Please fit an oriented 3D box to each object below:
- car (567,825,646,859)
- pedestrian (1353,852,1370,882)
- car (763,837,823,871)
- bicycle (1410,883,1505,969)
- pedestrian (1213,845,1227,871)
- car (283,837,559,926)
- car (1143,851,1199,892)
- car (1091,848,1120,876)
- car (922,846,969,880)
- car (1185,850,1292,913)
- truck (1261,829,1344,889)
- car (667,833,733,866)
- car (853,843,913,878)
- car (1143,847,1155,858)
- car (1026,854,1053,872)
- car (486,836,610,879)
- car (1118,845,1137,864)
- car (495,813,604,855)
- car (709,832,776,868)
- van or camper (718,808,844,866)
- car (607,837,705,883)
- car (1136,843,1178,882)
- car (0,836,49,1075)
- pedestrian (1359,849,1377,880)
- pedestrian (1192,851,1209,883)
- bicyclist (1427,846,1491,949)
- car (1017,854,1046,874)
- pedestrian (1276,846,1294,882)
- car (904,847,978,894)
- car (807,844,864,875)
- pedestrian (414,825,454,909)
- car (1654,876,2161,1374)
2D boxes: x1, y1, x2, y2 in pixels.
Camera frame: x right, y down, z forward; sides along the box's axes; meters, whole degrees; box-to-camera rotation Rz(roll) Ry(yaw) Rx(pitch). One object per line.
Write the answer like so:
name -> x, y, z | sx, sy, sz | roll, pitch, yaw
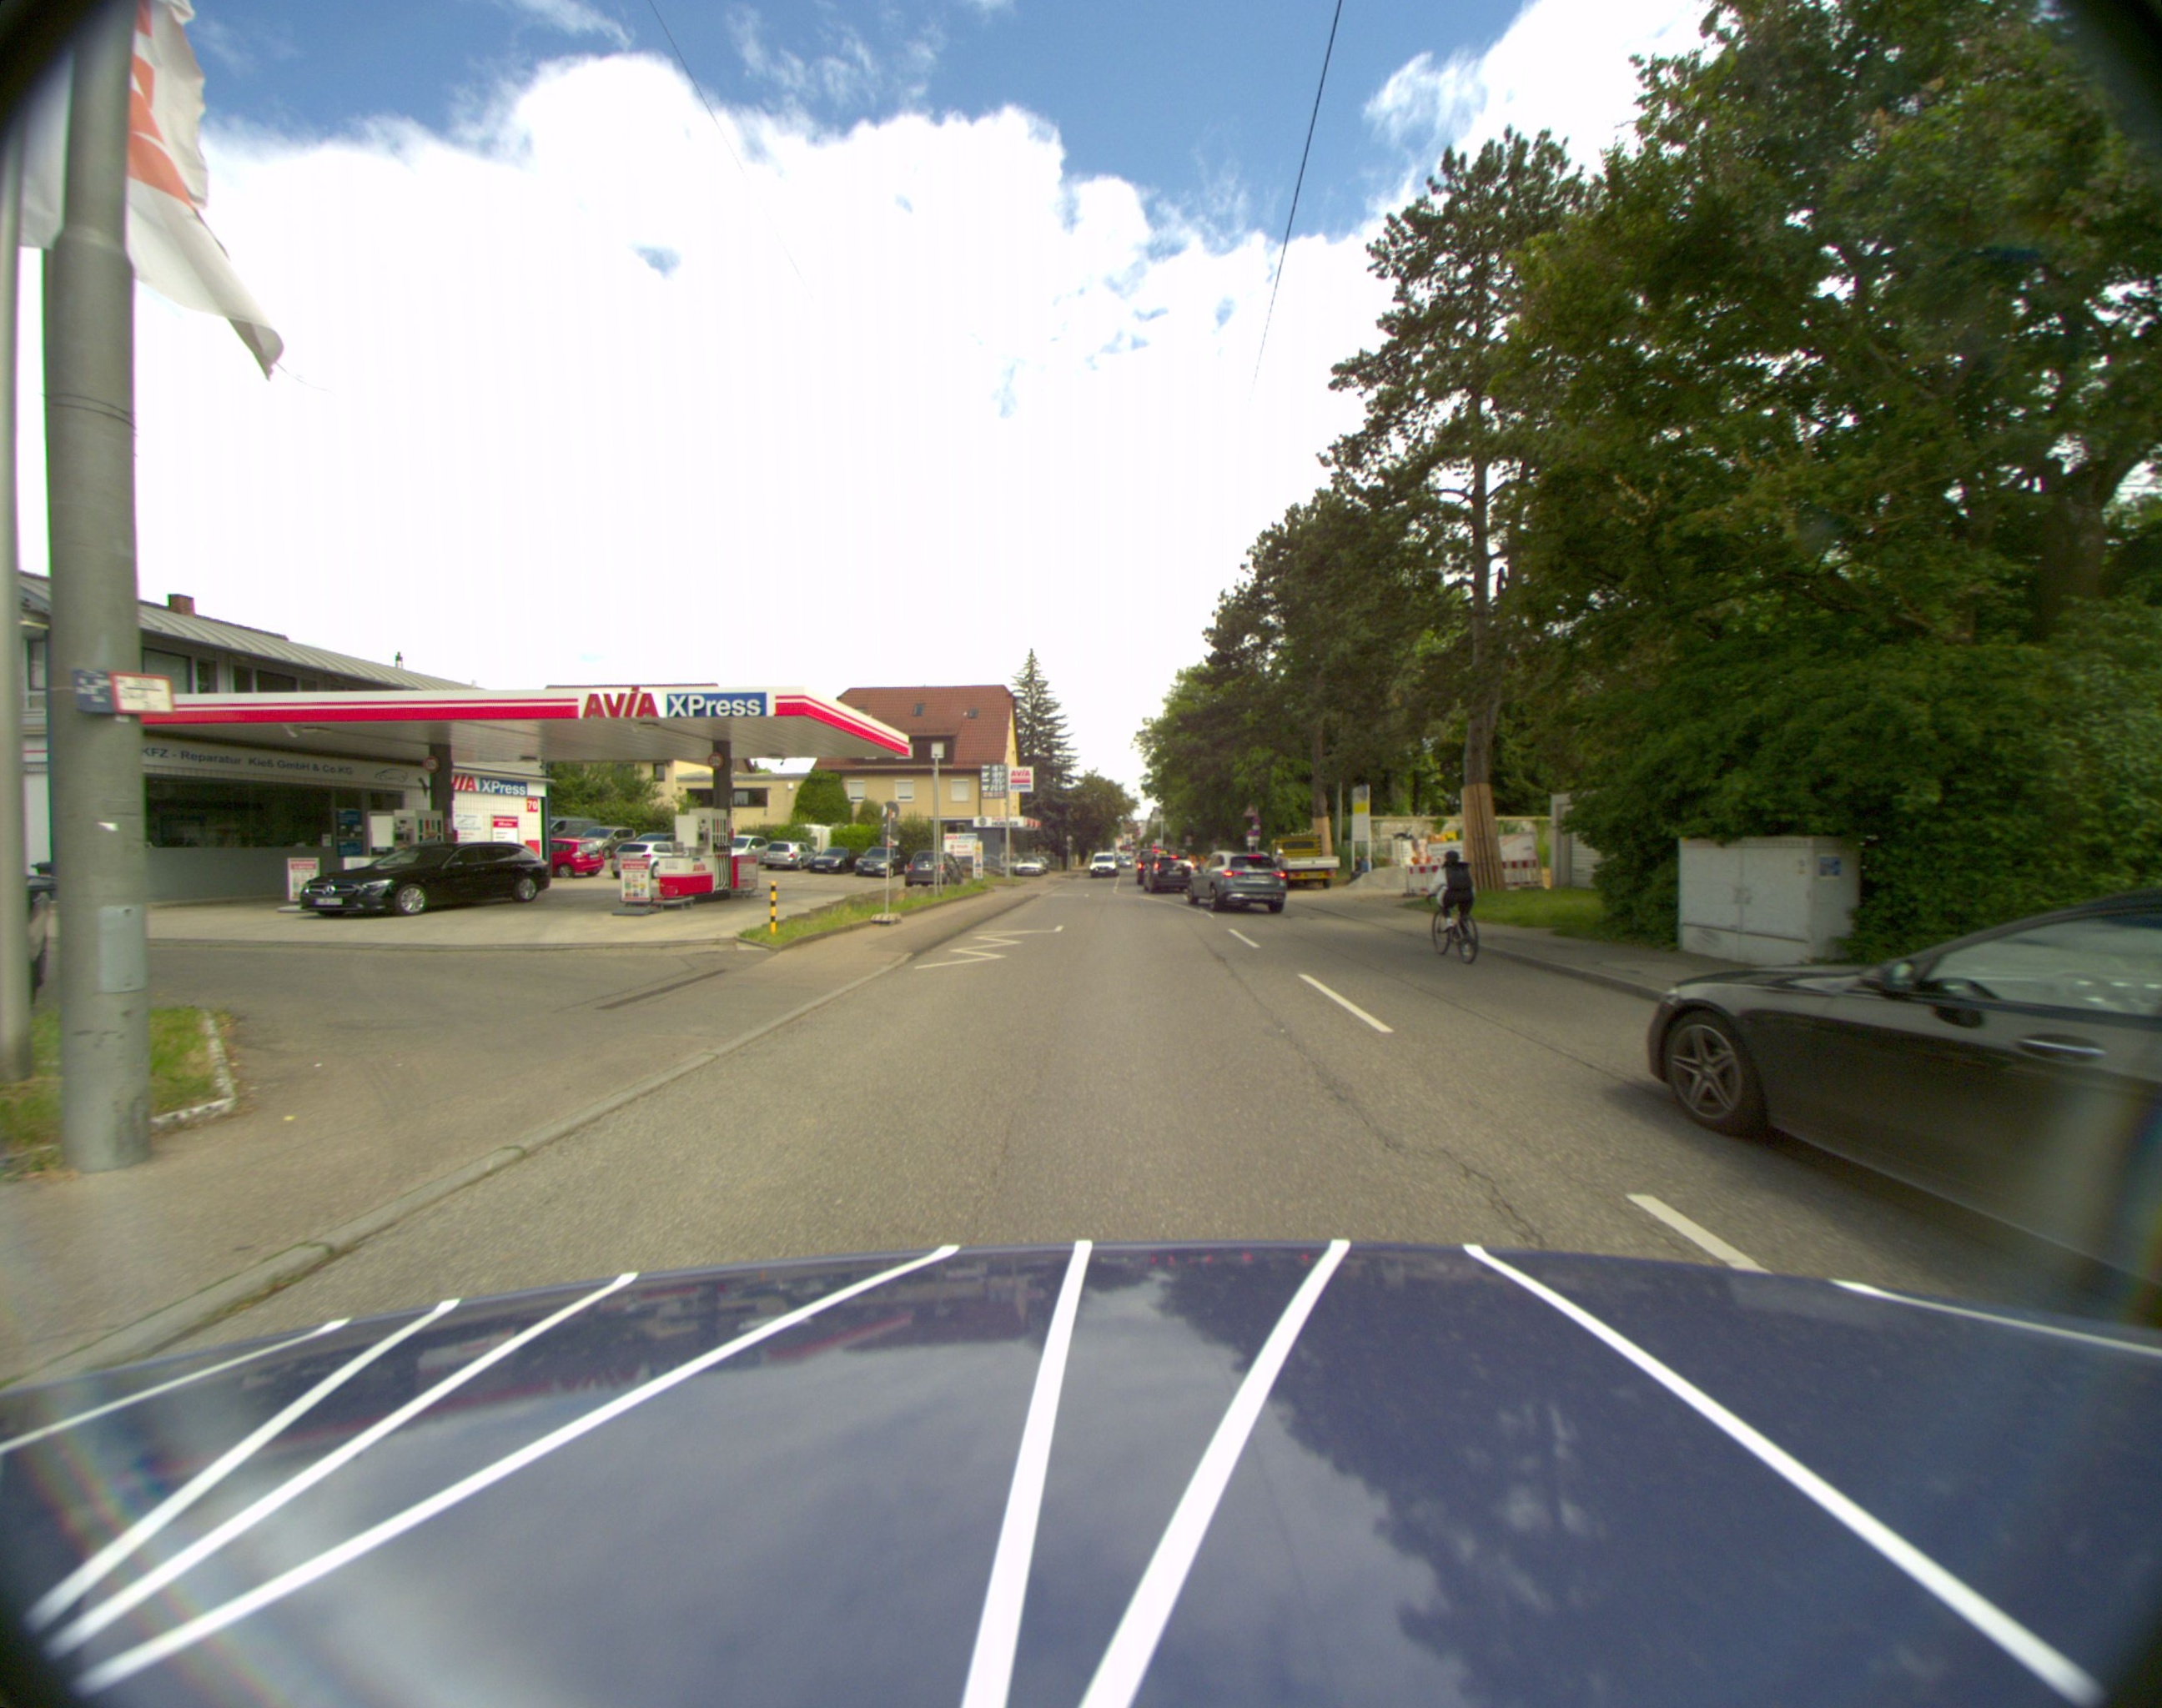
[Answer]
car -> -24.614, -0.643, 39.585 | 1.571, 1.623, 3.951 | 3, 2, 0
pedestrian -> 13.060, 0.615, 35.418 | 0.574, 1.377, 0.539 | -1, 2, 40
car -> -14.881, -0.060, 39.454 | 1.641, 1.576, 3.746 | 3, 2, 0
bicycle -> 5.510, 1.013, 11.242 | 0.455, 1.080, 1.869 | 1, 1, 0
pedestrian -> 10.119, 0.312, 55.262 | 0.835, 1.837, 1.022 | -2, 2, 6
car -> -13.790, 0.462, 16.341 | 1.633, 1.599, 4.571 | -1, 2, 4
car -> 3.632, 0.663, 31.366 | 1.870, 1.518, 4.528 | 0, 1, 2
car -> 1.808, 0.544, 54.839 | 1.965, 1.797, 4.429 | -3, 1, 3
car -> -7.036, 0.440, 39.913 | 1.638, 1.520, 4.203 | 3, 2, 0
car -> 4.364, 0.718, 21.798 | 1.871, 1.608, 4.533 | 0, 0, -4
truck -> 9.882, 0.152, 34.475 | 2.311, 2.406, 6.094 | -2, 1, 4
car -> -19.621, -0.286, 39.287 | 1.571, 1.560, 3.498 | 3, 2, 0
car -> -10.018, 0.289, 38.784 | 1.716, 1.533, 4.656 | 3, 2, 1
car -> 11.077, -0.239, 123.728 | 1.761, 1.582, 4.162 | 1, 2, 3
car -> -3.184, 0.675, 59.120 | 1.789, 1.276, 4.316 | 0, 1, 2
car -> -20.636, 0.108, 29.501 | 3.750, 1.452, 1.621 | 1, 4, 6
car -> 5.022, 0.050, 81.877 | 1.965, 1.797, 4.223 | -3, 1, 3
car -> -27.195, -1.034, 39.141 | 1.923, 1.907, 5.136 | 3, 2, 0
car -> -17.426, -0.242, 39.265 | 1.571, 1.674, 4.047 | 3, 2, 0
van or camper -> -16.919, -0.938, 43.108 | 5.974, 2.834, 2.531 | 3, 1, 0
car -> -17.028, 0.179, 30.661 | 1.633, 1.493, 3.746 | 3, 4, 4
car -> 4.022, 0.442, 41.045 | 1.913, 1.940, 4.914 | 0, 0, 2
car -> -9.924, 0.688, 6.179 | 4.306, 1.621, 1.639 | 3, 1, 38
pedestrian -> 13.045, 0.491, 34.501 | 0.574, 1.377, 0.539 | -1, 2, 40
pedestrian -> 6.039, 0.635, 38.435 | 0.538, 1.592, 0.570 | -4, 2, -42
bicyclist -> 5.513, 0.615, 11.120 | 0.470, 1.441, 0.864 | 1, 1, 0
car -> -3.475, 0.688, 54.211 | 1.789, 1.309, 4.480 | 0, 1, 0
pedestrian -> 8.881, 0.417, 33.102 | 0.575, 1.539, 0.654 | -2, 2, -2
car -> -5.444, 0.587, 30.099 | 1.618, 1.587, 4.161 | 5, 1, 6
car -> -12.471, 0.227, 38.833 | 1.640, 1.364, 3.746 | 3, 2, 0
pedestrian -> -15.250, 0.300, 17.909 | 0.585, 1.924, 0.541 | -1, 2, 40
car -> 4.137, 0.866, 2.192 | 1.744, 1.421, 4.524 | 0, 1, 4
